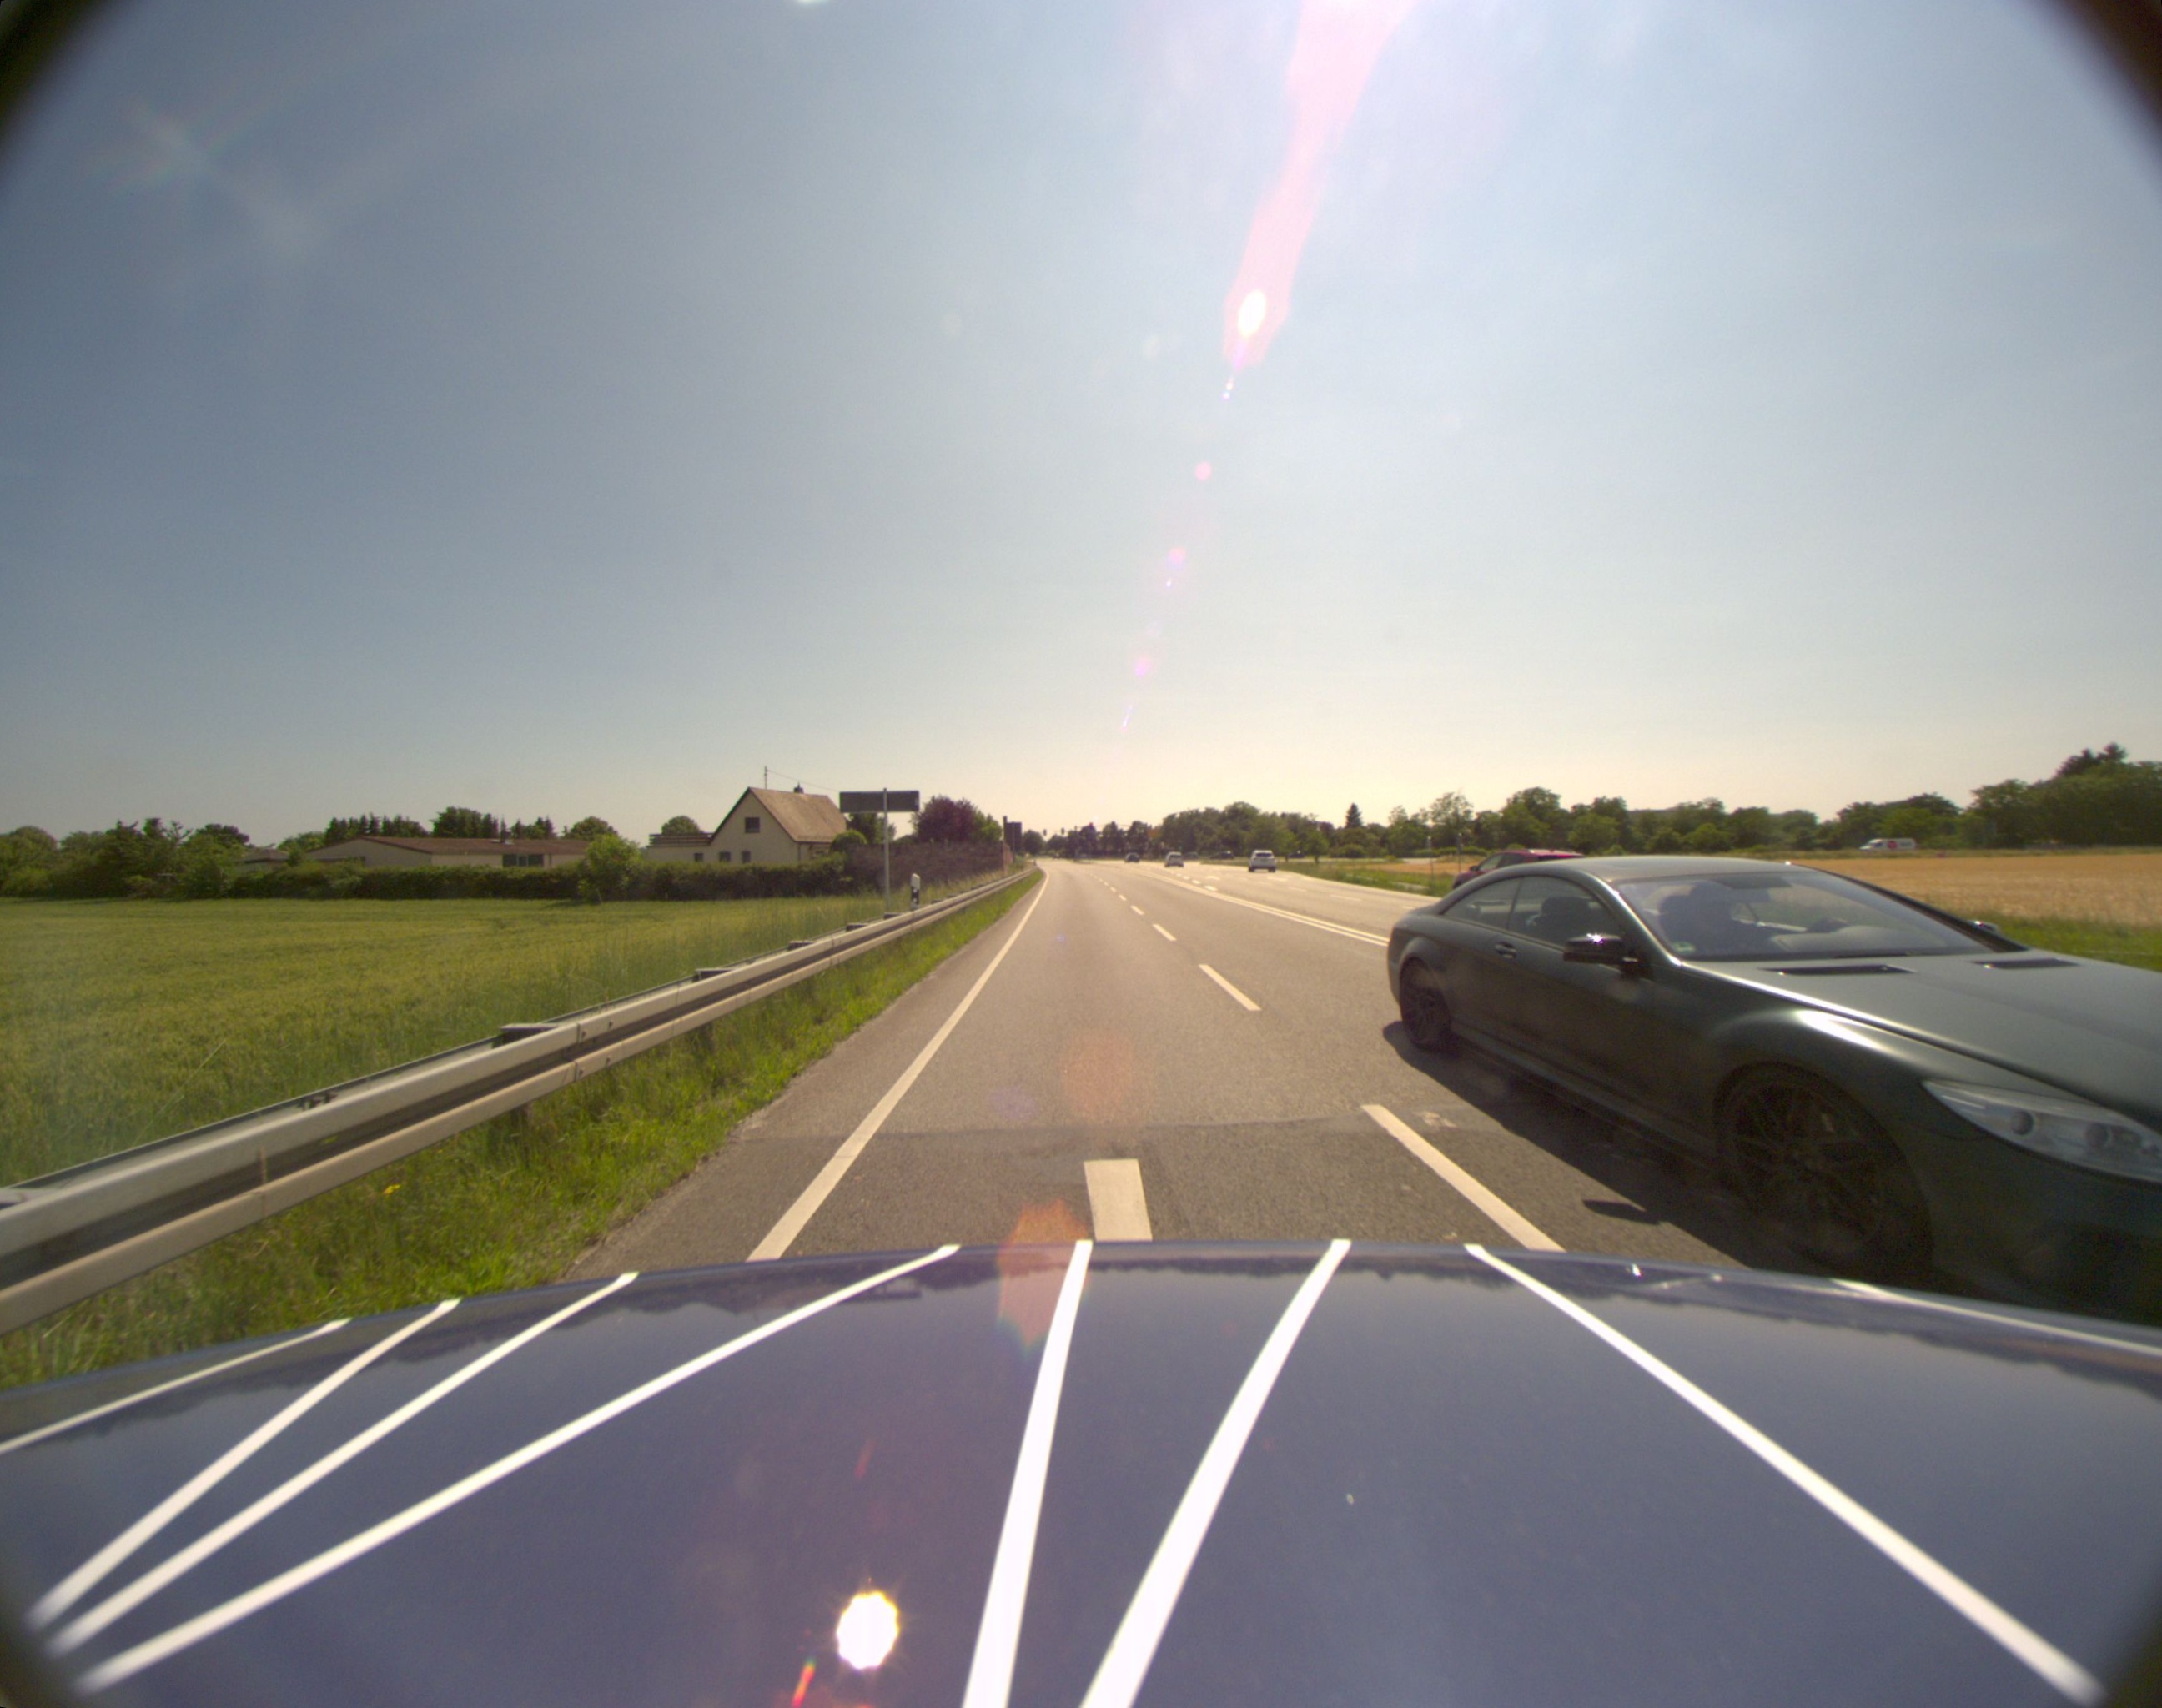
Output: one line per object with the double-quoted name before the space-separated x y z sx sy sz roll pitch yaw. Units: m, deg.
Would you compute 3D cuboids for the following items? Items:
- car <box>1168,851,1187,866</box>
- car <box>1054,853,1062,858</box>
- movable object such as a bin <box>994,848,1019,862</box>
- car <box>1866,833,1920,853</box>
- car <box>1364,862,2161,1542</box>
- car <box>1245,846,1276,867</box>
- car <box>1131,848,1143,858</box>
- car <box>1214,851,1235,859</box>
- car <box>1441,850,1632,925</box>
"car" 9.745 0.419 77.171 1.752 1.433 4.083 -1 0 5
"car" -7.076 0.437 236.295 1.836 1.591 4.301 0 1 -9
"movable object such as a bin" -12.918 0.189 130.956 4.107 2.318 1.276 -3 1 -9
"car" 135.531 -1.846 126.837 6.374 2.893 2.001 -2 1 7
"car" 3.368 0.838 4.019 1.815 1.441 4.876 -2 0 -1
"car" 14.249 0.190 60.510 1.668 1.667 4.464 1 0 4
"car" 8.563 -0.151 115.738 1.763 1.449 4.231 1 1 3
"car" 27.577 0.177 145.732 3.875 1.379 1.636 -1 0 9
"car" 10.807 0.720 18.476 1.999 1.553 4.310 0 1 0
